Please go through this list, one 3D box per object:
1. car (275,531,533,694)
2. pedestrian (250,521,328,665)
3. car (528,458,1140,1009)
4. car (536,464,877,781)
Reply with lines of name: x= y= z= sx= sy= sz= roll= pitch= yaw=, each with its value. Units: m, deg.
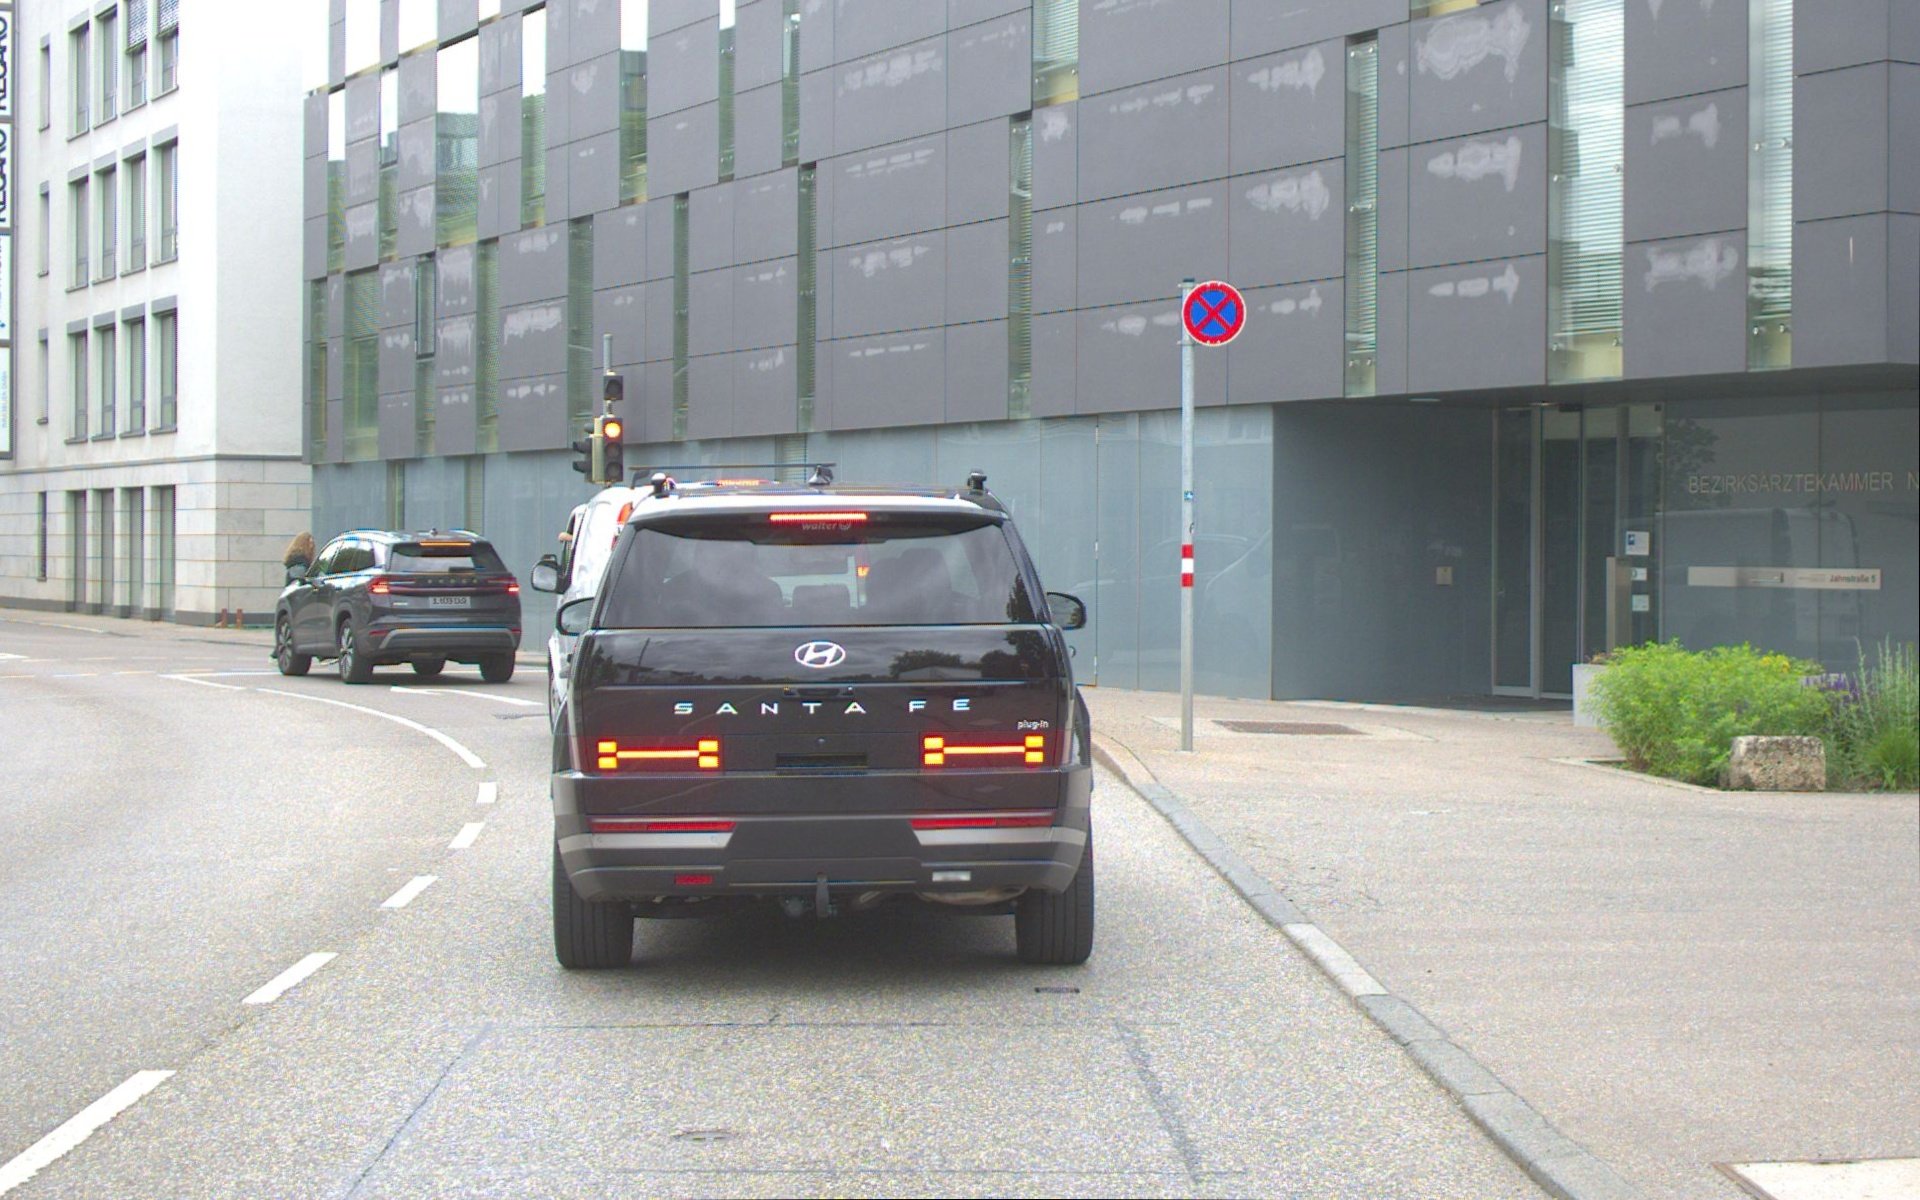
car: x=-6.246 y=0.112 z=38.237 sx=1.847 sy=1.671 sz=4.376 roll=-1 pitch=1 yaw=-23
pedestrian: x=-8.440 y=-0.094 z=43.226 sx=0.938 sy=1.794 sz=0.591 roll=0 pitch=1 yaw=-13
car: x=-0.557 y=0.399 z=13.159 sx=1.915 sy=1.719 sz=4.171 roll=2 pitch=1 yaw=-4
car: x=-1.899 y=0.095 z=24.360 sx=1.855 sy=2.026 sz=4.438 roll=0 pitch=1 yaw=-12
